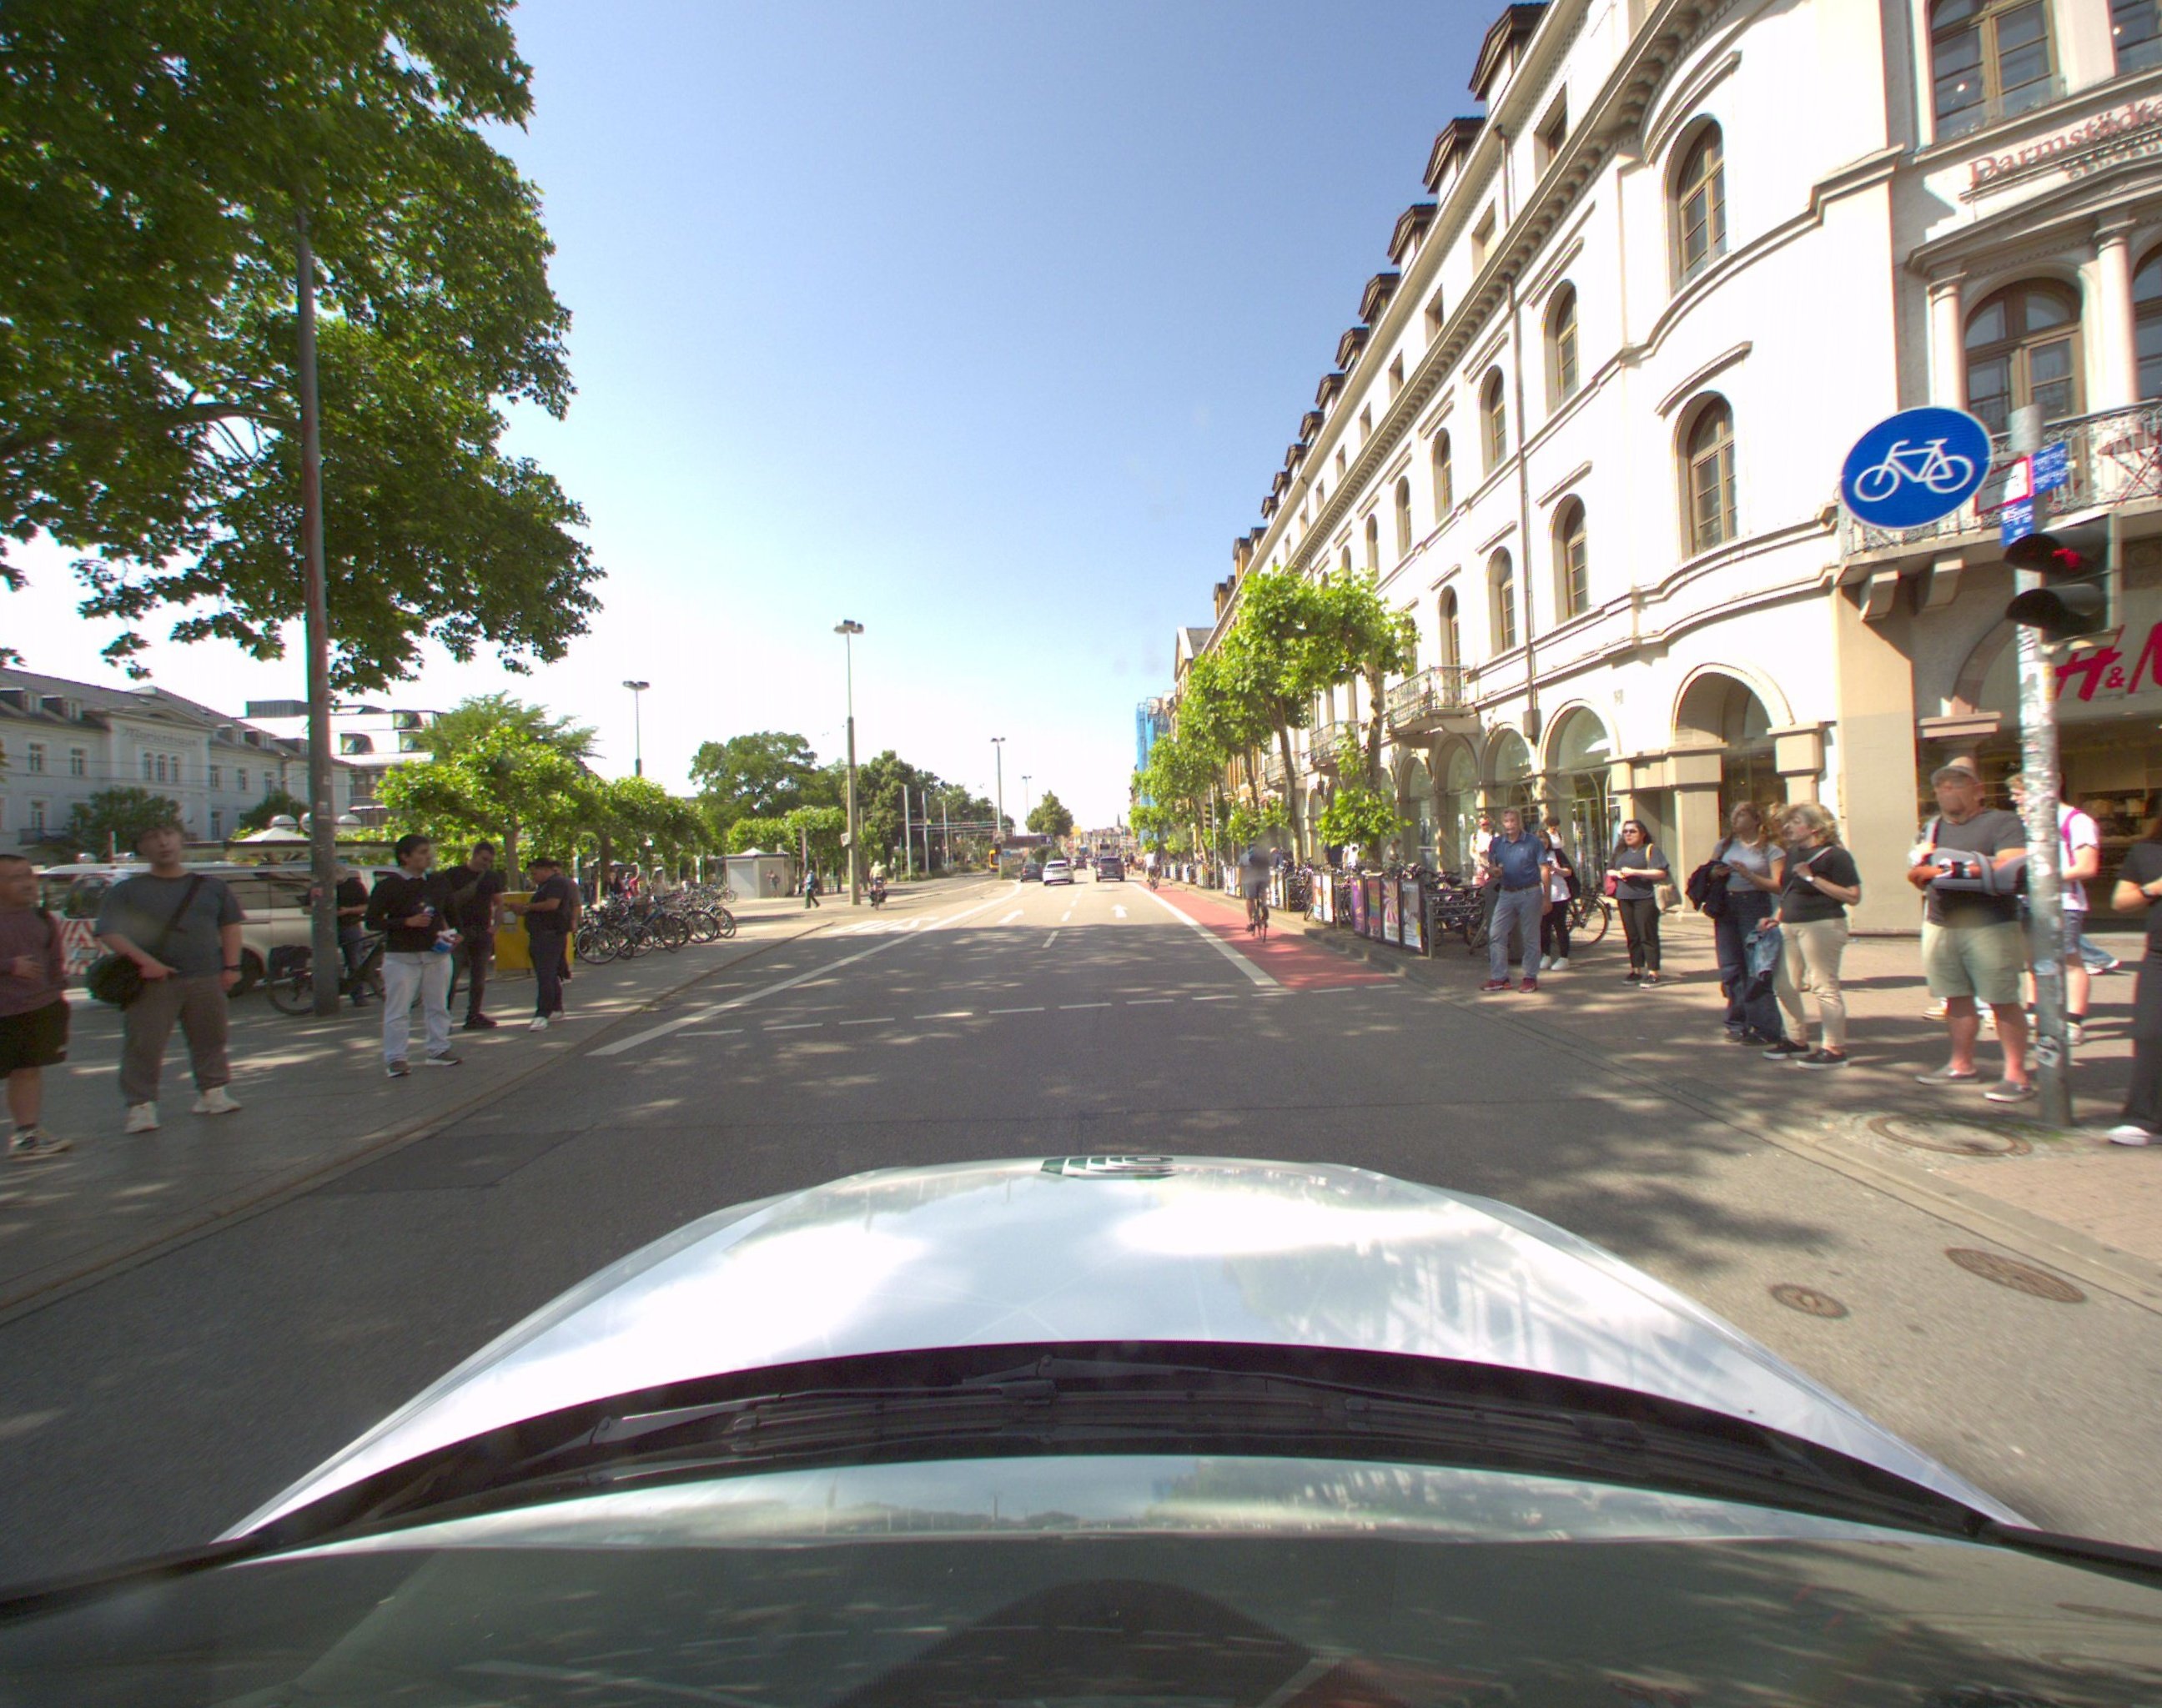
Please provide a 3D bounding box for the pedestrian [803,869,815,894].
[{"bbox_3d":[-17.983,1.834,53.851,0.577,1.609,0.598,-5,0,-28],"label":"pedestrian"}]

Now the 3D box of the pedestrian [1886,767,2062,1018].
[{"bbox_3d":[6.472,0.264,5.934,0.575,1.724,0.621,0,-1,-3],"label":"pedestrian"}]

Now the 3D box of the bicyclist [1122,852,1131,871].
[{"bbox_3d":[3.729,0.620,67.113,0.686,1.577,1.049,0,-1,-1],"label":"bicyclist"}]

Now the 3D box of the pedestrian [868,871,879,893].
[{"bbox_3d":[-15.895,2.151,62.445,0.521,1.609,0.628,-5,0,10],"label":"pedestrian"}]

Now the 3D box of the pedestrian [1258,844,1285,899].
[{"bbox_3d":[5.455,0.489,23.323,0.602,1.538,0.666,0,-1,-1],"label":"pedestrian"}]

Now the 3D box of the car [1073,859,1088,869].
[{"bbox_3d":[-0.010,1.291,104.471,1.809,1.332,4.001,0,0,2],"label":"car"}]

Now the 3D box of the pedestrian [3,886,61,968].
[{"bbox_3d":[-23.628,1.636,18.348,0.523,1.777,0.486,-5,0,0],"label":"pedestrian"}]

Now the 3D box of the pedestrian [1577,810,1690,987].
[{"bbox_3d":[5.508,0.428,8.158,0.575,1.684,0.775,0,-1,-2],"label":"pedestrian"}]

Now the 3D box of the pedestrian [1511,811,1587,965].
[{"bbox_3d":[5.353,0.372,9.322,0.614,1.684,0.582,-1,-1,44],"label":"pedestrian"}]

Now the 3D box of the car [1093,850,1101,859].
[{"bbox_3d":[4.119,0.139,206.028,1.986,2.014,4.001,0,-1,2],"label":"car"}]

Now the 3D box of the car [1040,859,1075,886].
[{"bbox_3d":[-1.430,1.104,50.257,1.852,1.507,4.001,-3,-1,2],"label":"car"}]

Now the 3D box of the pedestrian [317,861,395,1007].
[{"bbox_3d":[-8.938,0.963,10.057,0.515,1.742,0.517,0,-1,-13],"label":"pedestrian"}]

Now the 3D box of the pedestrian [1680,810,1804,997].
[{"bbox_3d":[5.859,0.422,7.246,0.575,1.584,0.621,0,-1,-3],"label":"pedestrian"}]

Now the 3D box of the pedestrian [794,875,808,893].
[{"bbox_3d":[-19.890,2.138,57.879,0.674,1.171,0.751,-5,0,-6],"label":"pedestrian"}]

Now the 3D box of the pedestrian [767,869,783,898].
[{"bbox_3d":[-18.795,1.823,50.002,0.753,1.728,0.833,-5,0,-22],"label":"pedestrian"}]

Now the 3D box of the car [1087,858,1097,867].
[{"bbox_3d":[1.610,1.244,123.252,1.447,1.301,3.340,0,-1,-1],"label":"car"}]

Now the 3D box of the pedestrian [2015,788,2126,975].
[{"bbox_3d":[8.833,0.232,7.294,0.512,1.584,0.586,-1,-1,40],"label":"pedestrian"}]

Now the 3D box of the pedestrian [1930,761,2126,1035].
[{"bbox_3d":[6.361,0.278,5.502,0.575,1.740,0.621,0,-1,-3],"label":"pedestrian"}]

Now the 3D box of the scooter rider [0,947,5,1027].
[{"bbox_3d":[-12.091,1.466,8.910,0.501,0.838,0.351,-1,-1,34],"label":"scooter rider"}]

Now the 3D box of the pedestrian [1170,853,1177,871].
[{"bbox_3d":[8.514,0.754,74.948,0.381,1.683,0.475,-3,-1,-12],"label":"pedestrian"}]

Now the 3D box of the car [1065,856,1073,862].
[{"bbox_3d":[-2.376,0.985,160.582,1.446,1.301,4.001,0,0,2],"label":"car"}]

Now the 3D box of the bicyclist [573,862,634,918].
[{"bbox_3d":[-12.872,0.957,21.978,1.153,1.498,0.832,0,-1,1],"label":"bicyclist"}]

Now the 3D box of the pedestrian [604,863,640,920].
[{"bbox_3d":[-16.871,1.388,29.916,0.900,2.007,0.672,-4,0,-43],"label":"pedestrian"}]

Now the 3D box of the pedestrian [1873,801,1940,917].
[{"bbox_3d":[13.034,0.078,12.871,0.614,1.764,0.610,-1,-1,35],"label":"pedestrian"}]

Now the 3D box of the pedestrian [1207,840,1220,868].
[{"bbox_3d":[8.536,0.010,52.548,0.664,1.781,0.986,-3,-1,5],"label":"pedestrian"}]

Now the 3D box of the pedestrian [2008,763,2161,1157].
[{"bbox_3d":[4.863,0.439,3.631,0.575,1.684,0.669,-4,-1,-3],"label":"pedestrian"}]

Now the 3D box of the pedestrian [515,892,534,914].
[{"bbox_3d":[-38.510,3.420,56.379,0.619,1.466,0.682,6,-3,8],"label":"pedestrian"}]

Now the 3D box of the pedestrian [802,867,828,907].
[{"bbox_3d":[-11.305,1.396,34.619,0.892,1.658,0.678,-2,-1,-9],"label":"pedestrian"}]

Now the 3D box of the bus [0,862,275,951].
[{"bbox_3d":[-42.573,2.082,34.011,3.031,3.420,12.521,-1,-1,20],"label":"bus"}]

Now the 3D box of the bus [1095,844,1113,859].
[{"bbox_3d":[4.609,-0.482,163.814,2.961,2.776,8.636,-2,0,-1],"label":"bus"}]

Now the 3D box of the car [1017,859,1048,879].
[{"bbox_3d":[-3.635,1.130,62.170,1.986,1.508,4.001,0,-1,2],"label":"car"}]

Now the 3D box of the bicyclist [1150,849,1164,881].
[{"bbox_3d":[3.912,0.550,42.022,0.686,1.616,0.918,0,-1,1],"label":"bicyclist"}]

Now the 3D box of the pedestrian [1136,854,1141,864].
[{"bbox_3d":[9.315,0.847,131.217,0.652,1.620,0.815,-3,0,-1],"label":"pedestrian"}]

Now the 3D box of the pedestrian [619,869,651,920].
[{"bbox_3d":[-15.995,1.450,29.232,0.617,1.745,0.685,-5,0,35],"label":"pedestrian"}]

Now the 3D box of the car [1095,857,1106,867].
[{"bbox_3d":[2.682,1.077,112.374,1.446,1.301,3.343,0,-1,2],"label":"car"}]

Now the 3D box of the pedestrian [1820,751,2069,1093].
[{"bbox_3d":[4.922,0.360,4.690,0.575,1.785,0.698,-3,-1,-2],"label":"pedestrian"}]

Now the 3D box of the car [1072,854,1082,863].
[{"bbox_3d":[-0.627,0.738,132.489,1.446,1.301,4.001,0,0,2],"label":"car"}]

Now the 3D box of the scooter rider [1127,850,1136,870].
[{"bbox_3d":[4.332,0.509,69.816,0.686,1.729,0.778,0,-1,1],"label":"scooter rider"}]

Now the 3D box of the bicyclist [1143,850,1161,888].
[{"bbox_3d":[3.015,0.618,34.605,0.686,1.577,1.050,0,-1,1],"label":"bicyclist"}]

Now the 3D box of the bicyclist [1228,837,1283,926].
[{"bbox_3d":[2.973,0.451,13.971,0.686,1.463,1.142,0,-1,-1],"label":"bicyclist"}]

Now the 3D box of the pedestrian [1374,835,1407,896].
[{"bbox_3d":[8.686,0.323,22.882,0.654,1.696,0.676,0,-1,2],"label":"pedestrian"}]

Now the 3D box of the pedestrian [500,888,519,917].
[{"bbox_3d":[-29.971,2.553,42.730,0.684,1.465,0.618,-5,0,-38],"label":"pedestrian"}]

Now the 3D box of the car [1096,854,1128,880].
[{"bbox_3d":[1.941,0.811,51.144,1.867,1.492,4.001,-1,-1,2],"label":"car"}]

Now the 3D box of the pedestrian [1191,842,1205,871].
[{"bbox_3d":[6.756,0.142,47.132,0.650,1.633,0.730,0,-1,-2],"label":"pedestrian"}]

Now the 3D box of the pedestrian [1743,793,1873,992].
[{"bbox_3d":[6.440,0.326,7.238,0.575,1.684,0.621,0,-1,-3],"label":"pedestrian"}]

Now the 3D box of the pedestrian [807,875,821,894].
[{"bbox_3d":[-18.855,2.145,57.588,0.674,1.246,0.751,-5,0,-6],"label":"pedestrian"}]

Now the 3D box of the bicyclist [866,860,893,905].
[{"bbox_3d":[-7.585,1.044,30.670,0.817,1.622,0.900,-3,0,-8],"label":"bicyclist"}]

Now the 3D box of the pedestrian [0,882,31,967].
[{"bbox_3d":[-23.096,1.521,17.345,0.571,1.777,0.684,-5,0,21],"label":"pedestrian"}]

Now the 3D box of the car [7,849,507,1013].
[{"bbox_3d":[-12.240,0.964,12.713,1.976,2.014,5.094,-1,-1,22],"label":"car"}]
